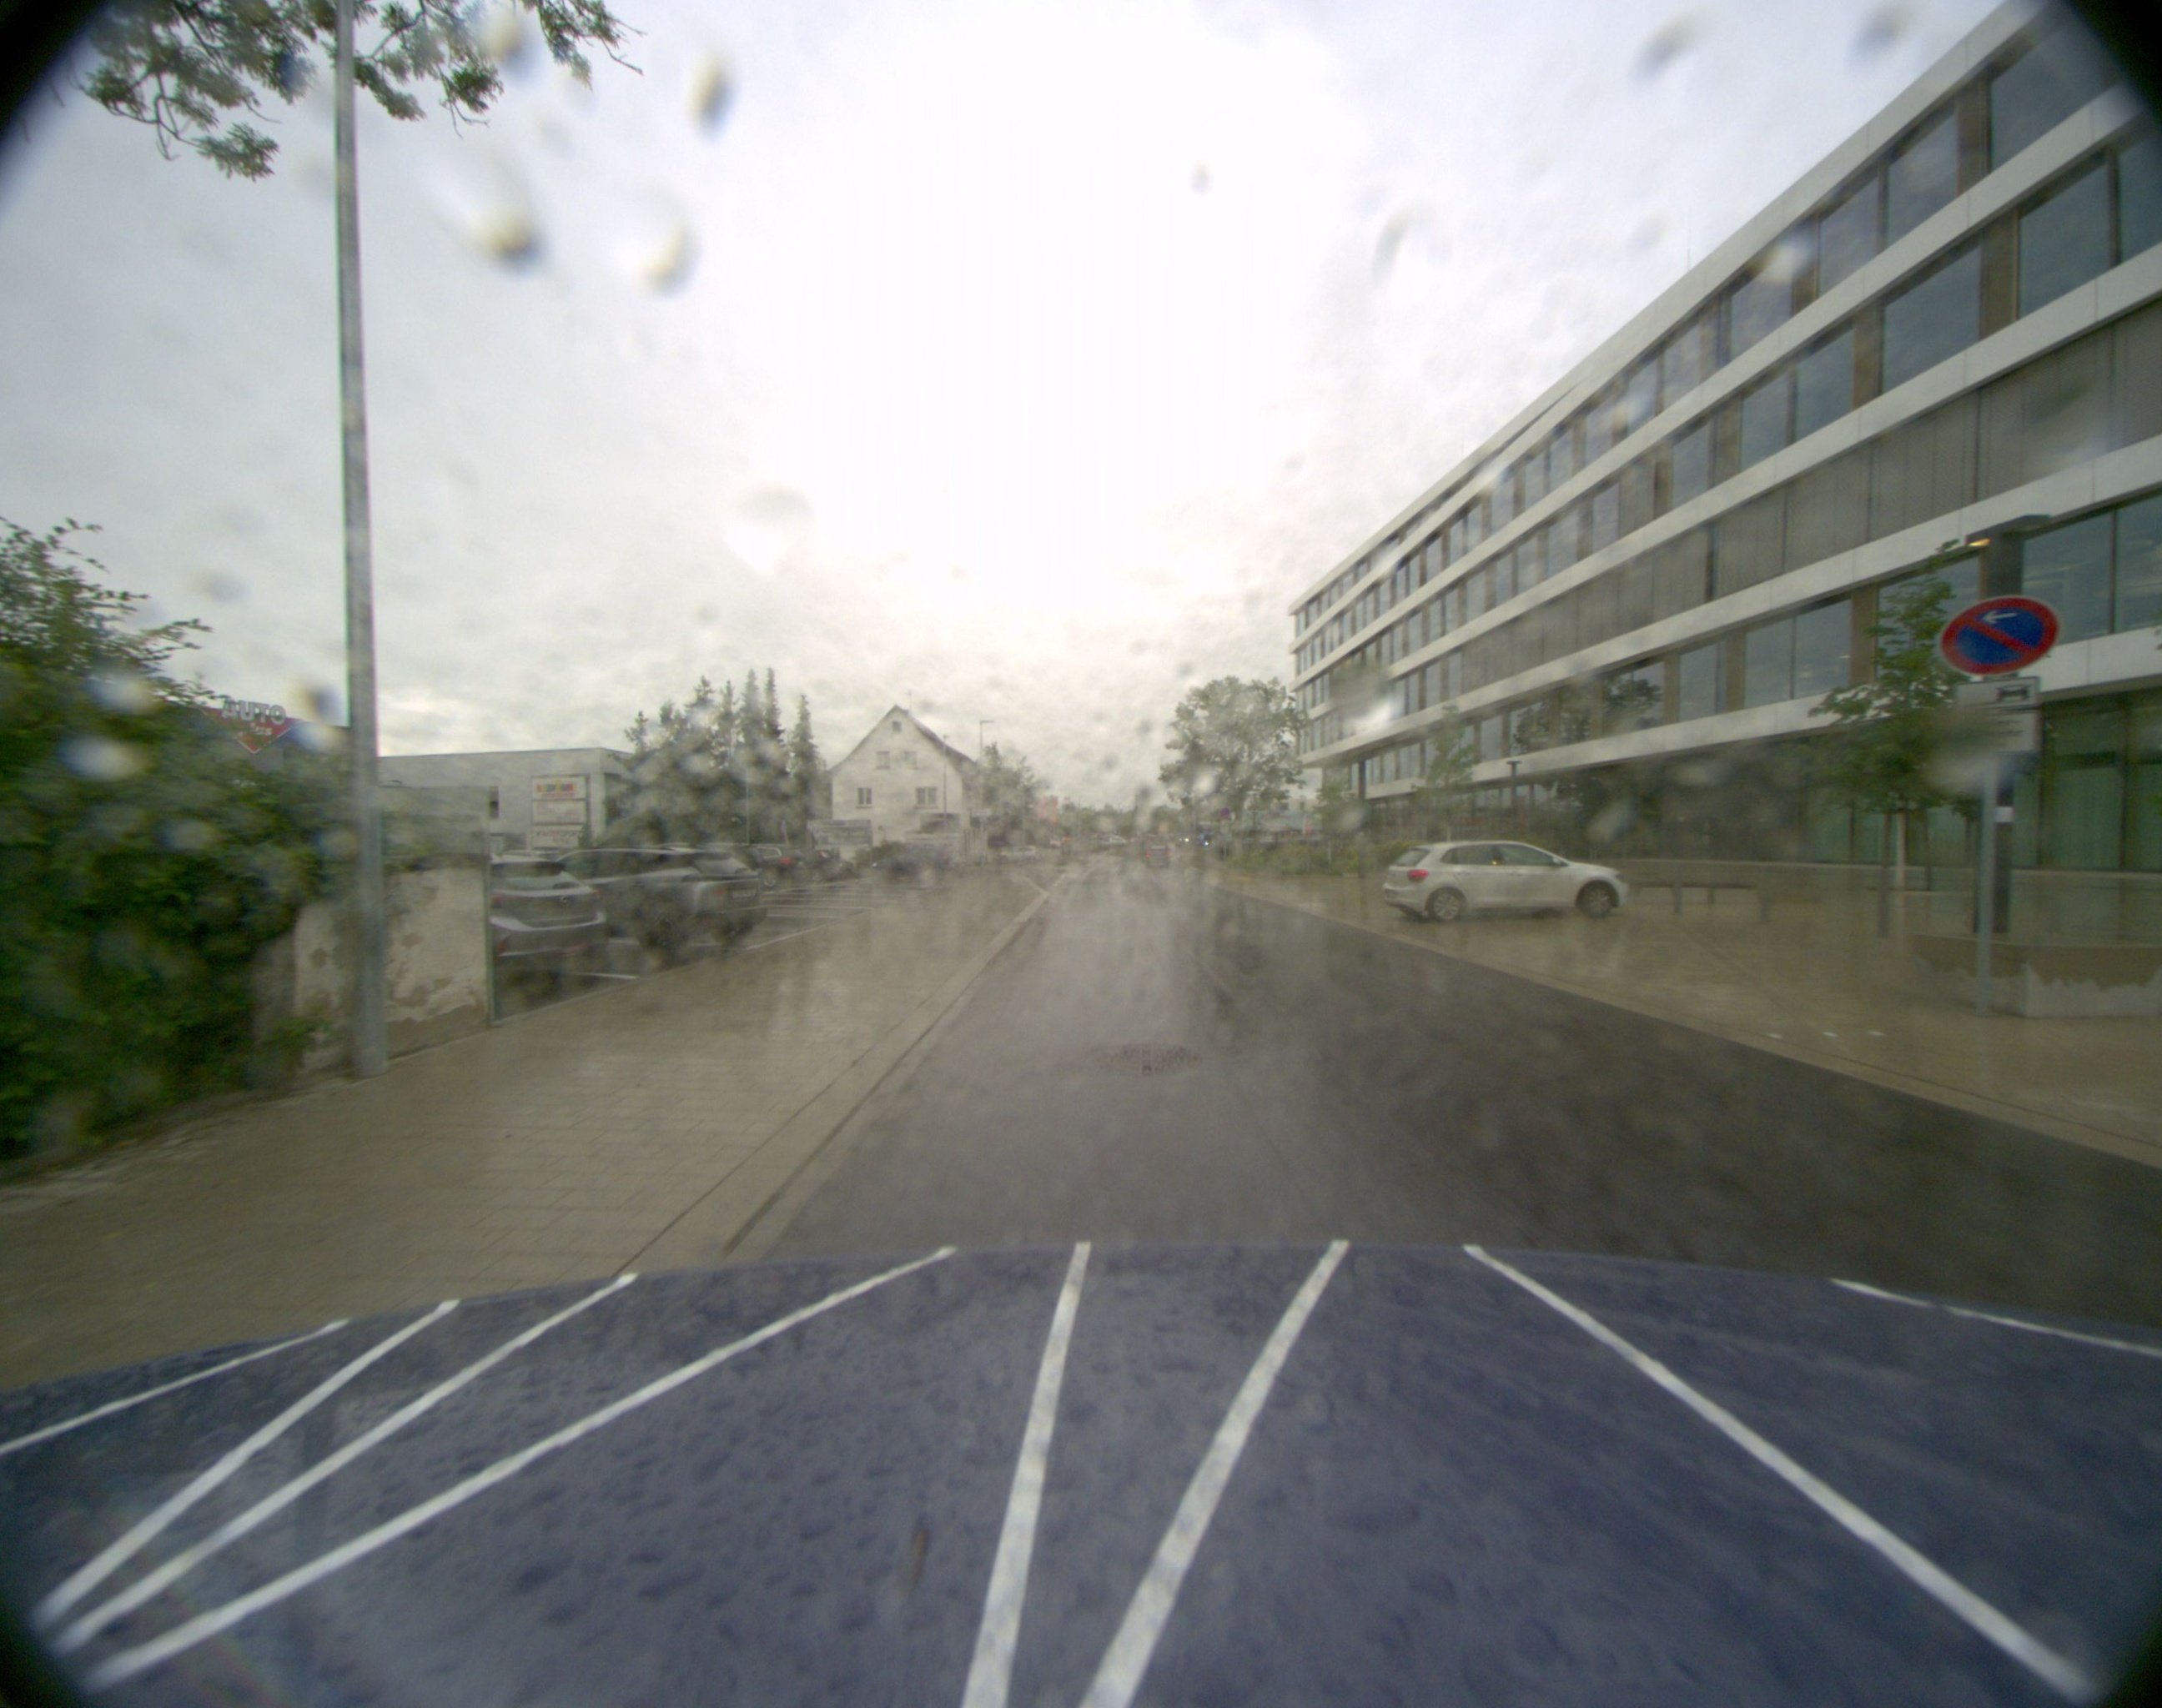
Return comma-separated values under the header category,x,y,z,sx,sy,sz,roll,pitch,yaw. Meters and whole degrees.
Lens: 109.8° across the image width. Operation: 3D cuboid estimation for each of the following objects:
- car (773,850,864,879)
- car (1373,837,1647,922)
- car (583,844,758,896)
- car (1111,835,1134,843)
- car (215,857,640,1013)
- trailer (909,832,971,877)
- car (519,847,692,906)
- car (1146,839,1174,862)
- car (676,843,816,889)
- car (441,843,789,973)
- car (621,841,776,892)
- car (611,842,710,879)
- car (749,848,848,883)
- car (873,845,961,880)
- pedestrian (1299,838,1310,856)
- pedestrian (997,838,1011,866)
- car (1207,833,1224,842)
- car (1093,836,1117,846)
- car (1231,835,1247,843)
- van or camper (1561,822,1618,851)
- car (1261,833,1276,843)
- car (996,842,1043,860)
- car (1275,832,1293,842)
category,x,y,z,sx,sy,sz,roll,pitch,yaw
car,-12.373,0.484,35.951,3.736,1.308,1.692,0,1,-2
car,7.665,0.428,13.911,3.937,1.415,1.898,-1,1,2
car,-12.563,0.461,23.458,4.366,1.550,1.839,0,1,-1
car,8.148,-2.888,149.614,3.990,1.434,2.003,-1,1,26
car,-7.385,0.814,8.775,3.627,1.486,1.807,1,1,10
trailer,-7.000,0.001,37.774,2.708,2.159,1.548,-1,1,3
car,-12.995,0.595,20.896,3.695,1.492,1.642,-1,1,1
car,6.429,-0.340,62.186,2.007,1.807,4.979,-1,1,3
car,-12.435,0.432,28.389,4.366,1.642,1.844,0,1,-1
car,-6.893,0.701,11.462,4.214,1.640,2.001,1,2,11
car,-12.999,0.403,26.006,4.365,1.649,1.786,0,1,2
car,-21.888,0.293,39.601,4.480,1.818,1.896,1,1,17
car,-12.410,0.479,33.567,3.736,1.441,1.730,0,1,-2
car,-7.581,0.370,35.341,3.735,1.520,1.649,1,2,1
pedestrian,22.141,-0.678,75.219,0.726,1.694,0.956,-4,3,4
pedestrian,-5.733,-0.171,56.716,0.861,2.002,1.194,2,1,-1
car,25.990,-3.165,146.843,1.916,1.521,4.007,-2,0,28
car,4.417,-2.345,140.228,4.095,1.696,2.004,-1,1,29
car,27.927,-2.649,134.019,1.883,1.288,4.006,-3,0,25
van or camper,58.296,-2.019,87.267,5.090,3.070,2.003,-2,1,22
car,29.590,-2.534,119.866,1.790,1.543,4.005,-1,1,22
car,-5.825,-0.285,71.874,4.144,1.571,1.997,1,1,-13
car,31.735,-2.677,118.809,1.883,1.288,4.006,-3,0,25
